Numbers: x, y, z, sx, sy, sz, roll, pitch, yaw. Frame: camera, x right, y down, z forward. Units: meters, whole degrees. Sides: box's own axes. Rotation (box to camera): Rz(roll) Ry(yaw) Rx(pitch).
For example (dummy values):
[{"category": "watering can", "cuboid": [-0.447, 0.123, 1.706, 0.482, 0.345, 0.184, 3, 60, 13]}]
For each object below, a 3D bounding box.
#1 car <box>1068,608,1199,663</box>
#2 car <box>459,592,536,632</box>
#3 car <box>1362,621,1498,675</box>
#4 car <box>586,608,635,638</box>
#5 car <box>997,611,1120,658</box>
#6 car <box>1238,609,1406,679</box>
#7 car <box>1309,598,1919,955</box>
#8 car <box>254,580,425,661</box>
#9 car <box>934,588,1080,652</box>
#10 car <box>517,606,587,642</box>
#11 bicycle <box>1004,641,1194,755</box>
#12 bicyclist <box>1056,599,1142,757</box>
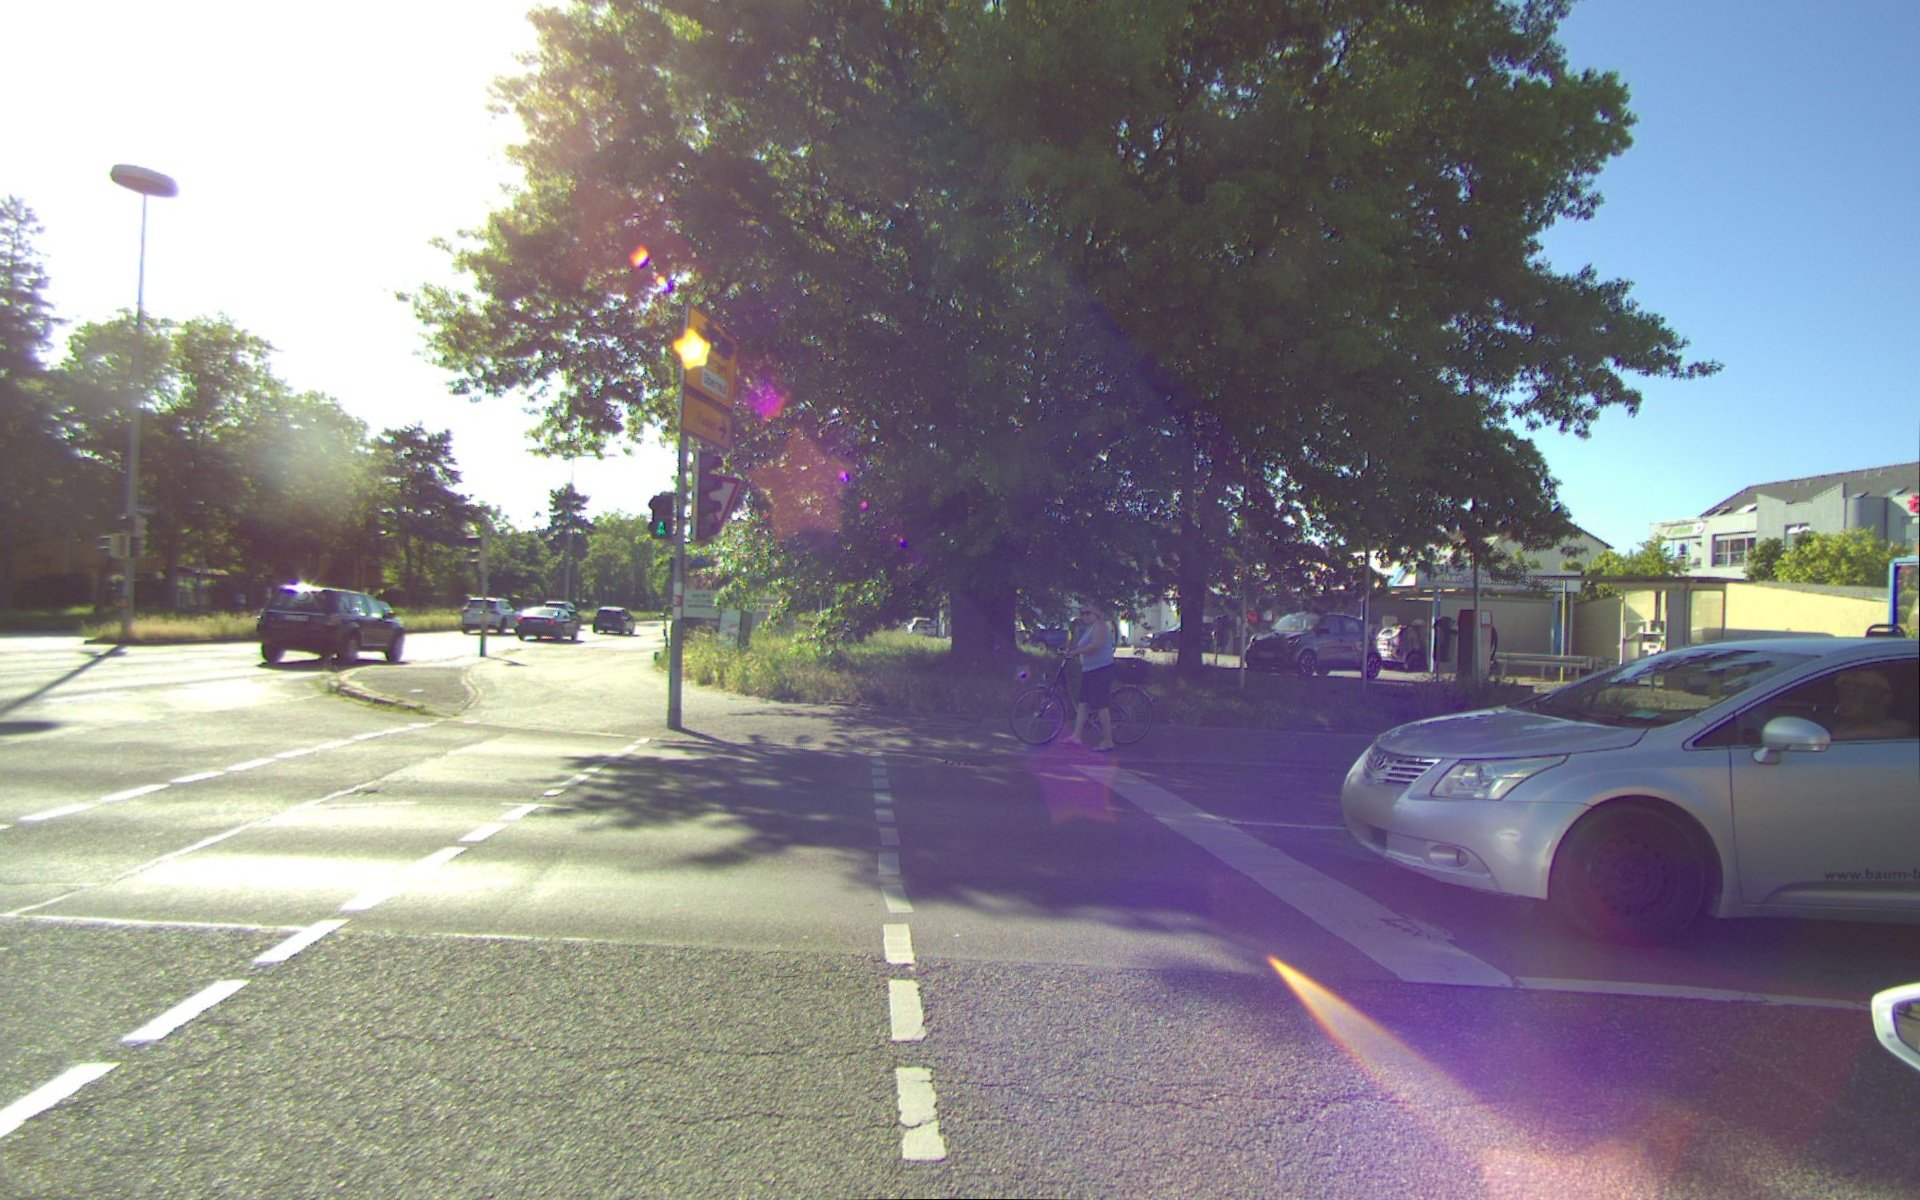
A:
[{"category": "car", "cuboid": [5.730, 1.164, 33.196, 3.938, 1.531, 1.526, 5, -2, -18]}, {"category": "car", "cuboid": [-21.927, 0.590, 47.830, 1.913, 1.674, 4.361, 4, -2, -6]}, {"category": "car", "cuboid": [16.750, 1.704, 35.898, 3.929, 1.628, 1.997, 4, -2, -9]}, {"category": "car", "cuboid": [-20.336, 1.352, 58.587, 1.809, 1.609, 4.359, 3, -2, -8]}, {"category": "car", "cuboid": [3.484, 1.205, 35.558, 3.943, 1.352, 1.790, 5, -2, -22]}, {"category": "car", "cuboid": [8.824, 1.086, 24.415, 3.957, 1.394, 1.745, 5, -2, -32]}, {"category": "car", "cuboid": [4.587, 0.860, 5.374, 4.792, 1.508, 1.843, 2, -2, 3]}, {"category": "car", "cuboid": [-14.979, 0.506, 24.568, 1.794, 1.706, 4.387, 3, -2, -7]}, {"category": "car", "cuboid": [1.867, 0.820, 40.795, 5.552, 2.126, 1.997, 4, -2, -9]}, {"category": "car", "cuboid": [-17.916, 1.048, 44.261, 1.809, 1.413, 4.358, 4, -2, -9]}, {"category": "bicycle", "cuboid": [1.510, 1.066, 11.060, 1.986, 1.157, 0.529, 2, -1, -2]}, {"category": "bicyclist", "cuboid": [1.517, 0.842, 11.050, 0.814, 1.663, 0.542, 2, -1, -2]}]
